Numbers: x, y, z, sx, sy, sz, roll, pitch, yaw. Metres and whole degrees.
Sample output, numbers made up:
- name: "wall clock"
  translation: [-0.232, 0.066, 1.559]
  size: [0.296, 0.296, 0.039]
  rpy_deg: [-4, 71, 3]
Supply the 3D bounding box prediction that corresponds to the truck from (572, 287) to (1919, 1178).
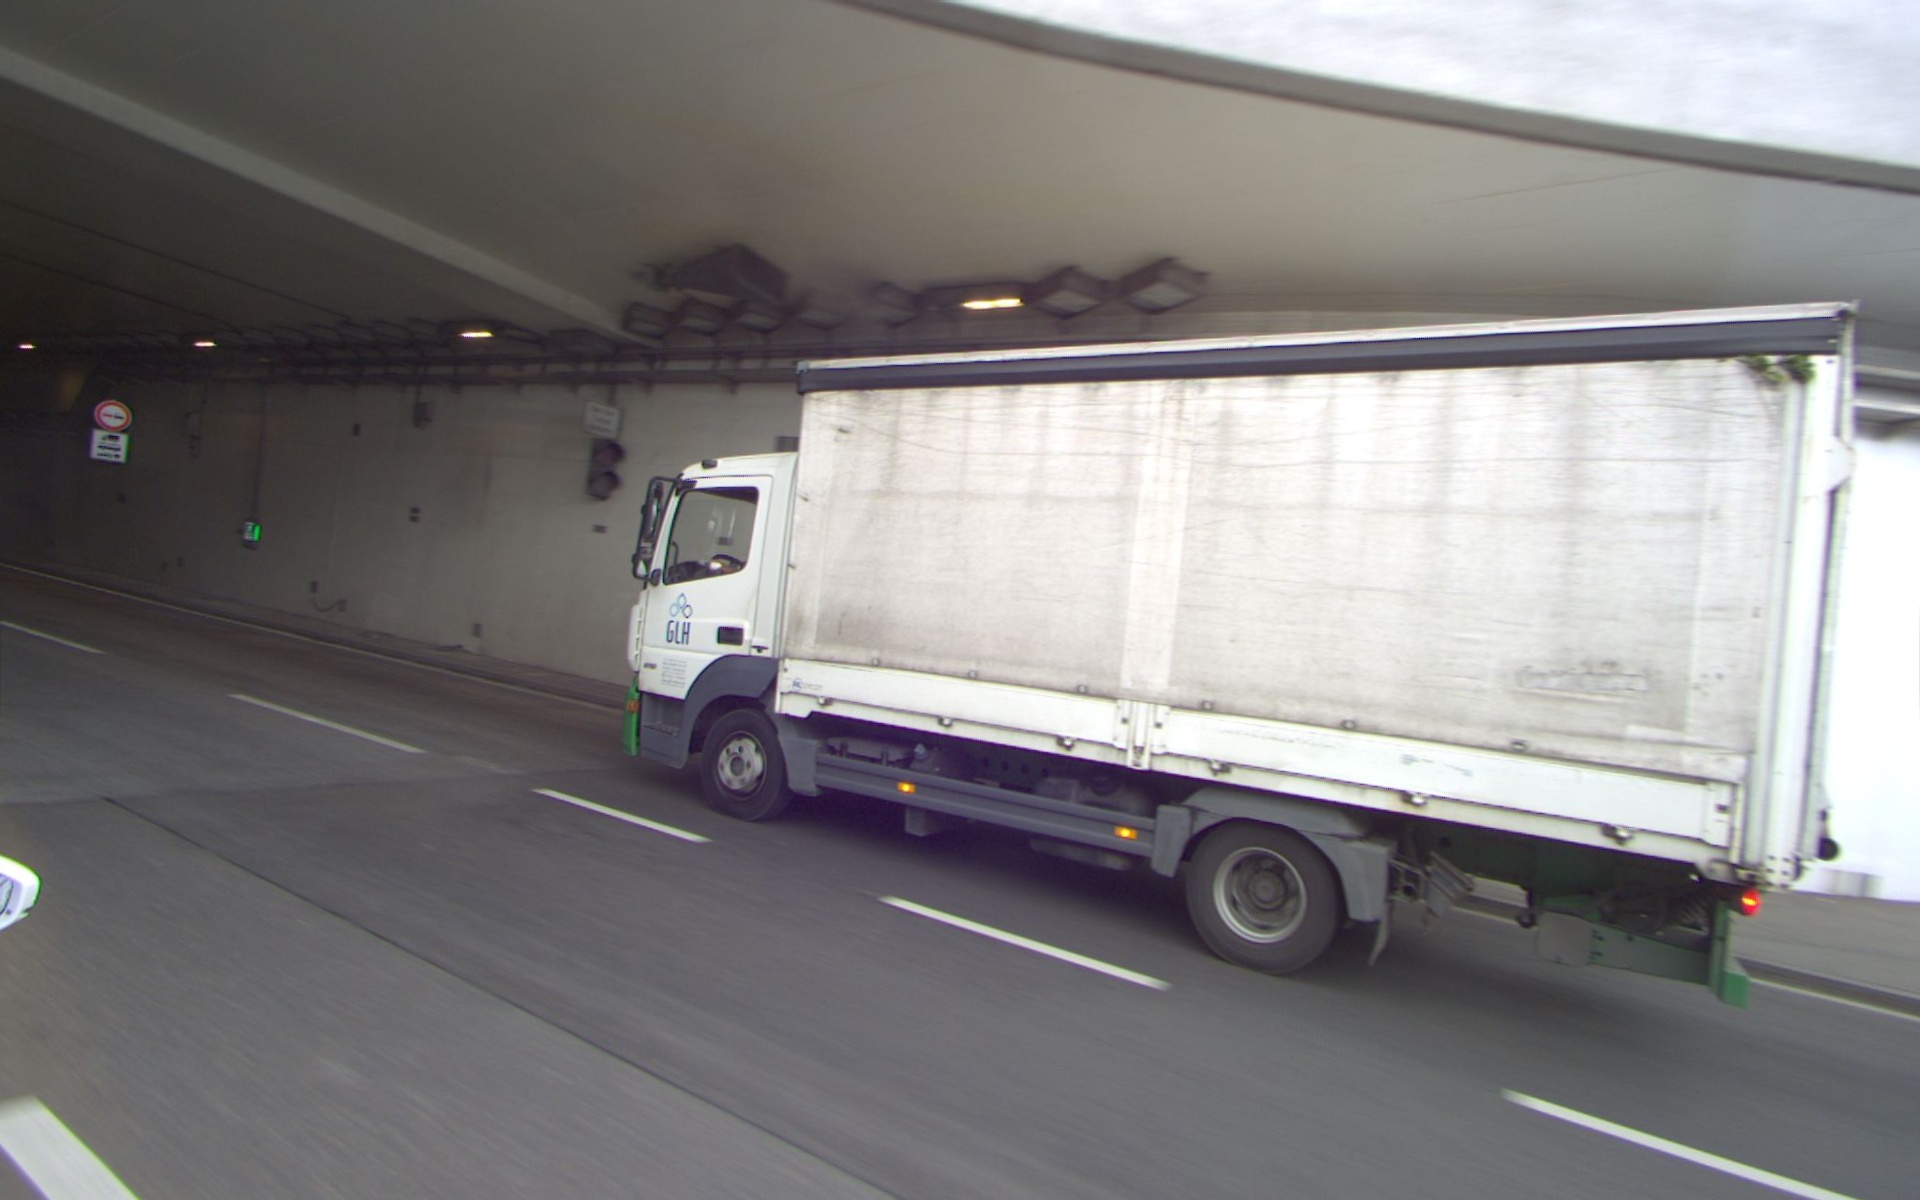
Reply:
- name: "truck"
  translation: [1.010, 0.168, 6.706]
  size: [7.304, 3.224, 2.652]
  rpy_deg: [8, 0, 33]
